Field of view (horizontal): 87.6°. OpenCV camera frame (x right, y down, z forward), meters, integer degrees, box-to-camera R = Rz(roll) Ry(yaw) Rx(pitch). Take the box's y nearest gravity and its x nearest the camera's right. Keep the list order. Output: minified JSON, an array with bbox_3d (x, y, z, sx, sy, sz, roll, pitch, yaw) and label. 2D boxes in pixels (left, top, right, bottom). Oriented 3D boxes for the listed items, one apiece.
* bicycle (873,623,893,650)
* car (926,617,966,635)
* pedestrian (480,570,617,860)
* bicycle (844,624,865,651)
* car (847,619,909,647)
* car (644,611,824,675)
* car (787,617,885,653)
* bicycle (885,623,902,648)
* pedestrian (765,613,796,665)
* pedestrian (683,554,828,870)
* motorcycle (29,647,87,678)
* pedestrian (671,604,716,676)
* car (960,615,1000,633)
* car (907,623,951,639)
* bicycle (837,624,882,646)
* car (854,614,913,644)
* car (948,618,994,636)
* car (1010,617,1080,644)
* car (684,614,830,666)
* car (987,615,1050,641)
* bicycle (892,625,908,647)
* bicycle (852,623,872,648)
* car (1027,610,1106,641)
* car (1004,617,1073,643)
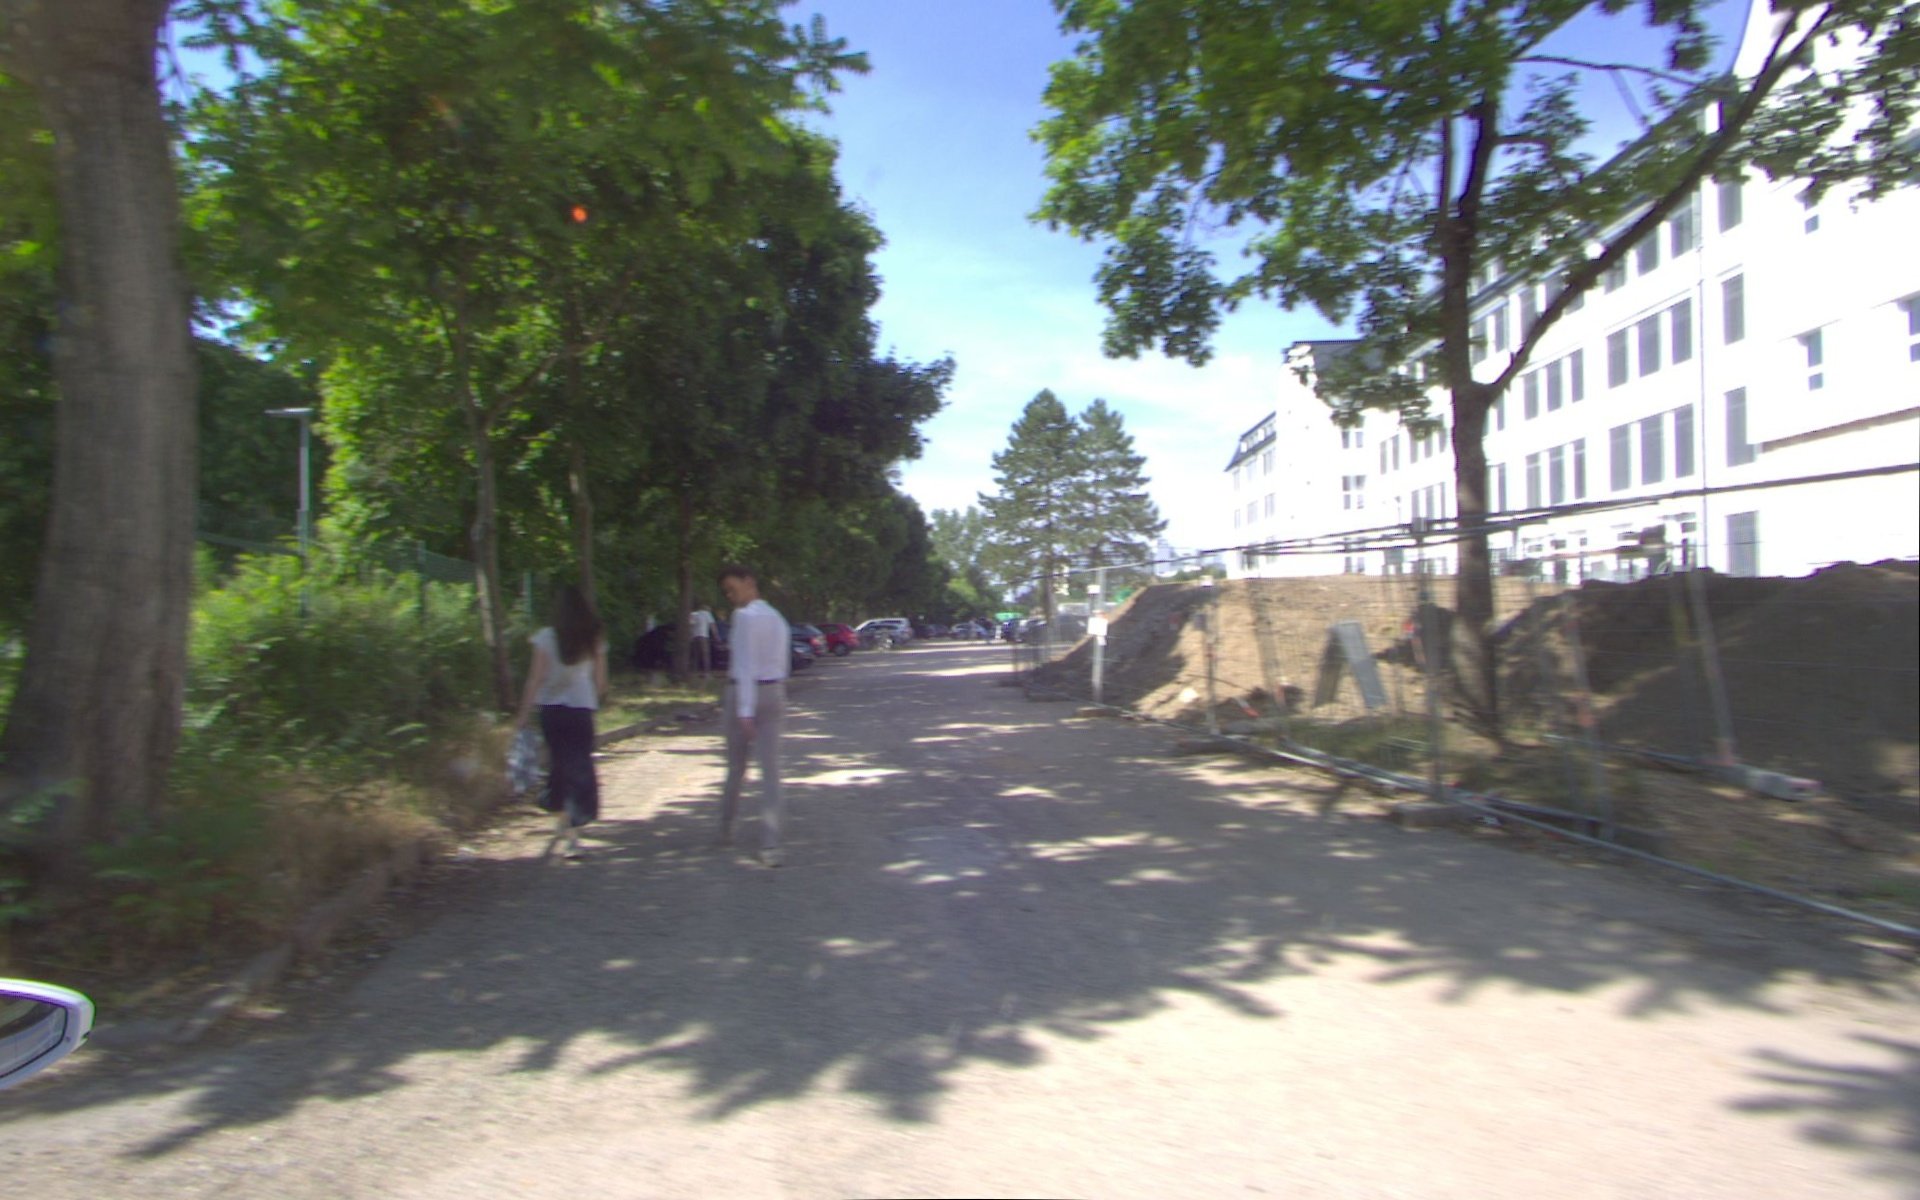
[{"bbox_3d":[-3.756,1.763,49.073,0.702,1.301,2.684,-1,-1,1],"label":"bicycle"},{"bbox_3d":[-1.592,2.967,114.777,4.405,2.040,2.000,-1,-1,9],"label":"car"},{"bbox_3d":[-2.517,0.657,6.208,0.725,1.662,0.779,-1,1,-19],"label":"pedestrian"},{"bbox_3d":[-5.218,1.848,49.807,0.702,1.301,2.791,-1,-1,1],"label":"bicycle"},{"bbox_3d":[-5.528,2.195,67.484,3.922,1.795,1.767,-1,0,4],"label":"car"},{"bbox_3d":[-6.032,1.136,27.237,4.582,1.606,1.999,0,0,-8],"label":"car"},{"bbox_3d":[-5.532,1.546,45.070,4.216,1.544,1.892,-1,0,-1],"label":"car"},{"bbox_3d":[-3.573,1.884,53.774,0.702,1.301,2.637,-1,-1,1],"label":"bicycle"},{"bbox_3d":[-5.700,1.230,31.772,0.910,1.616,0.785,0,1,-7],"label":"pedestrian"},{"bbox_3d":[-1.258,0.623,6.071,0.744,1.751,0.852,-1,1,-19],"label":"pedestrian"},{"bbox_3d":[-39.350,2.711,43.726,0.618,1.262,2.063,-1,-1,3],"label":"motorcycle"},{"bbox_3d":[-6.821,1.015,25.655,0.998,1.804,0.819,-1,0,-8],"label":"pedestrian"},{"bbox_3d":[1.909,2.297,97.258,1.771,1.706,3.970,0,-1,-38],"label":"car"},{"bbox_3d":[-2.946,2.932,95.259,3.923,1.470,1.654,-1,-1,9],"label":"car"},{"bbox_3d":[-6.006,2.079,60.009,2.632,1.301,0.819,0,0,-5],"label":"bicycle"},{"bbox_3d":[-5.366,2.019,70.481,3.922,2.040,1.767,-1,0,4],"label":"car"},{"bbox_3d":[0.928,2.344,87.691,3.952,1.525,1.540,-1,-1,39],"label":"car"},{"bbox_3d":[5.347,1.901,63.387,4.344,1.639,2.000,-1,-1,4],"label":"car"},{"bbox_3d":[-6.609,1.282,33.125,4.582,1.606,1.999,0,0,-8],"label":"car"},{"bbox_3d":[4.154,2.001,70.991,4.375,1.783,2.000,0,0,5],"label":"car"},{"bbox_3d":[-3.645,2.165,61.090,0.803,1.301,2.747,-1,-1,1],"label":"bicycle"},{"bbox_3d":[-5.304,1.913,54.293,0.803,1.301,2.684,-1,-1,1],"label":"bicycle"},{"bbox_3d":[5.803,1.402,54.803,4.229,1.639,1.759,-1,-1,4],"label":"car"},{"bbox_3d":[5.156,1.982,65.991,4.454,1.639,2.000,-1,-1,4],"label":"car"}]
